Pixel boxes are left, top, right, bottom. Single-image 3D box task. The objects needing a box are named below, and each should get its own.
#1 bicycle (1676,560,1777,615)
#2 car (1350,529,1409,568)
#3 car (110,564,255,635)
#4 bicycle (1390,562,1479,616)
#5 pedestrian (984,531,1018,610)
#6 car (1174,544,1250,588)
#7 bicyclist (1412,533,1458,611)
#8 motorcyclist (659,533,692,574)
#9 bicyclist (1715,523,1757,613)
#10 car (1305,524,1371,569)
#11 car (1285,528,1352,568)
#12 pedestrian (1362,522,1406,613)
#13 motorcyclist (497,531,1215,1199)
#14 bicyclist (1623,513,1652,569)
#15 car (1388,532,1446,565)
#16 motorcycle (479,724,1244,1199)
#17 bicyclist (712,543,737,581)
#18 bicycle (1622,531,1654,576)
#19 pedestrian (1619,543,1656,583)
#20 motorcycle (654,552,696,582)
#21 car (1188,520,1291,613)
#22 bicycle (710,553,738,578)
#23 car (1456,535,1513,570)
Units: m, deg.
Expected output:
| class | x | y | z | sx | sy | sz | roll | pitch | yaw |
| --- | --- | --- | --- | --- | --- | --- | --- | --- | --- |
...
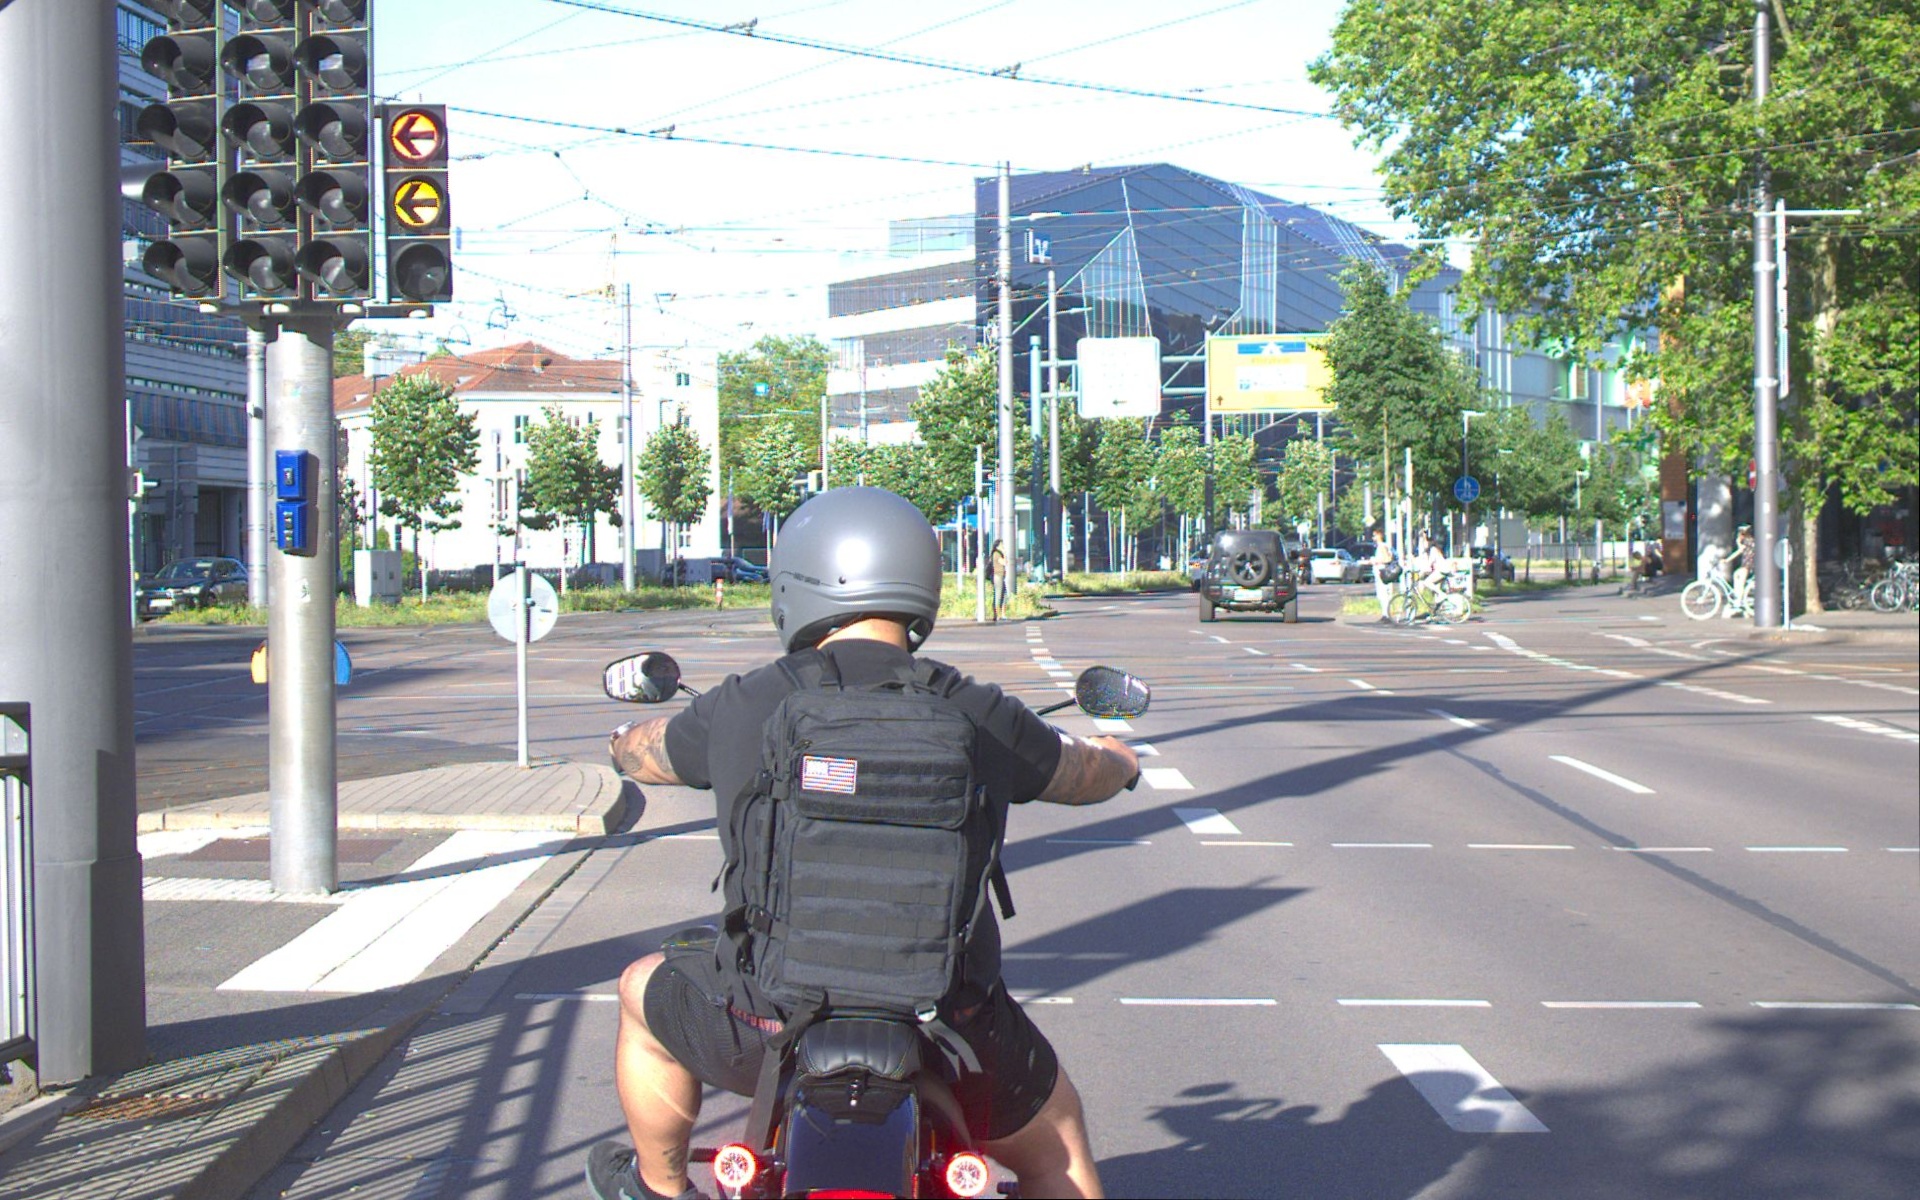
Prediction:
| class | x | y | z | sx | sy | sz | roll | pitch | yaw |
| --- | --- | --- | --- | --- | --- | --- | --- | --- | --- |
| bicycle | 14.552 | -0.236 | 65.279 | 1.853 | 1.018 | 0.516 | -1 | 0 | 11 |
| car | 18.106 | -2.245 | 148.329 | 1.722 | 1.651 | 3.750 | 0 | 1 | 20 |
| car | -17.726 | -0.033 | 78.541 | 1.792 | 1.461 | 4.310 | -1 | 2 | 8 |
| bicycle | 9.281 | -0.215 | 67.192 | 1.629 | 1.018 | 0.516 | -1 | 0 | 23 |
| pedestrian | 0.826 | -0.604 | 69.002 | 0.657 | 1.577 | 0.489 | 0 | 1 | 3 |
| car | 8.840 | -1.185 | 120.395 | 1.903 | 1.503 | 3.997 | 1 | 1 | 15 |
| bicyclist | 9.279 | -0.543 | 67.187 | 0.743 | 1.498 | 0.569 | -1 | 0 | 23 |
| motorcyclist | -11.945 | -1.945 | 144.533 | 1.019 | 1.725 | 1.460 | 0 | 1 | 11 |
| bicyclist | 14.726 | -0.605 | 65.258 | 0.743 | 1.689 | 0.570 | -1 | 0 | 11 |
| car | 15.551 | -2.198 | 141.240 | 1.821 | 1.811 | 3.940 | 0 | 1 | 20 |
| car | 14.129 | -2.052 | 135.510 | 1.775 | 1.509 | 3.729 | 0 | 1 | 20 |
| pedestrian | 8.543 | -0.655 | 69.223 | 0.701 | 1.830 | 0.514 | 1 | 0 | 35 |
| motorcyclist | -0.161 | 0.669 | 5.605 | 1.022 | 1.547 | 1.286 | 1 | 1 | -1 |
| bicyclist | 22.333 | -1.946 | 113.292 | 0.861 | 1.834 | 1.256 | 0 | 1 | 15 |
| car | 20.741 | -2.342 | 156.015 | 1.722 | 1.479 | 3.750 | 0 | 1 | 22 |
| motorcycle | -0.148 | 0.839 | 5.716 | 1.005 | 1.121 | 2.323 | 1 | 1 | -1 |
| bicyclist | -10.450 | -1.680 | 152.531 | 0.764 | 1.661 | 0.993 | 0 | 1 | 17 |
| bicycle | 22.367 | -1.544 | 113.425 | 0.861 | 1.476 | 2.574 | 0 | 1 | 15 |
| pedestrian | 17.870 | -0.982 | 90.672 | 0.785 | 1.053 | 0.813 | 0 | 1 | 22 |
| motorcycle | -11.952 | -1.391 | 144.434 | 0.984 | 1.227 | 2.941 | 0 | 1 | 11 |
| car | 5.862 | -0.695 | 71.786 | 2.053 | 1.867 | 4.226 | 1 | 1 | 5 |
| bicycle | -10.460 | -1.545 | 152.509 | 0.643 | 1.104 | 1.683 | 0 | 1 | 18 |
| car | 22.706 | -2.064 | 148.796 | 1.843 | 1.459 | 3.997 | 1 | 1 | 17 |
